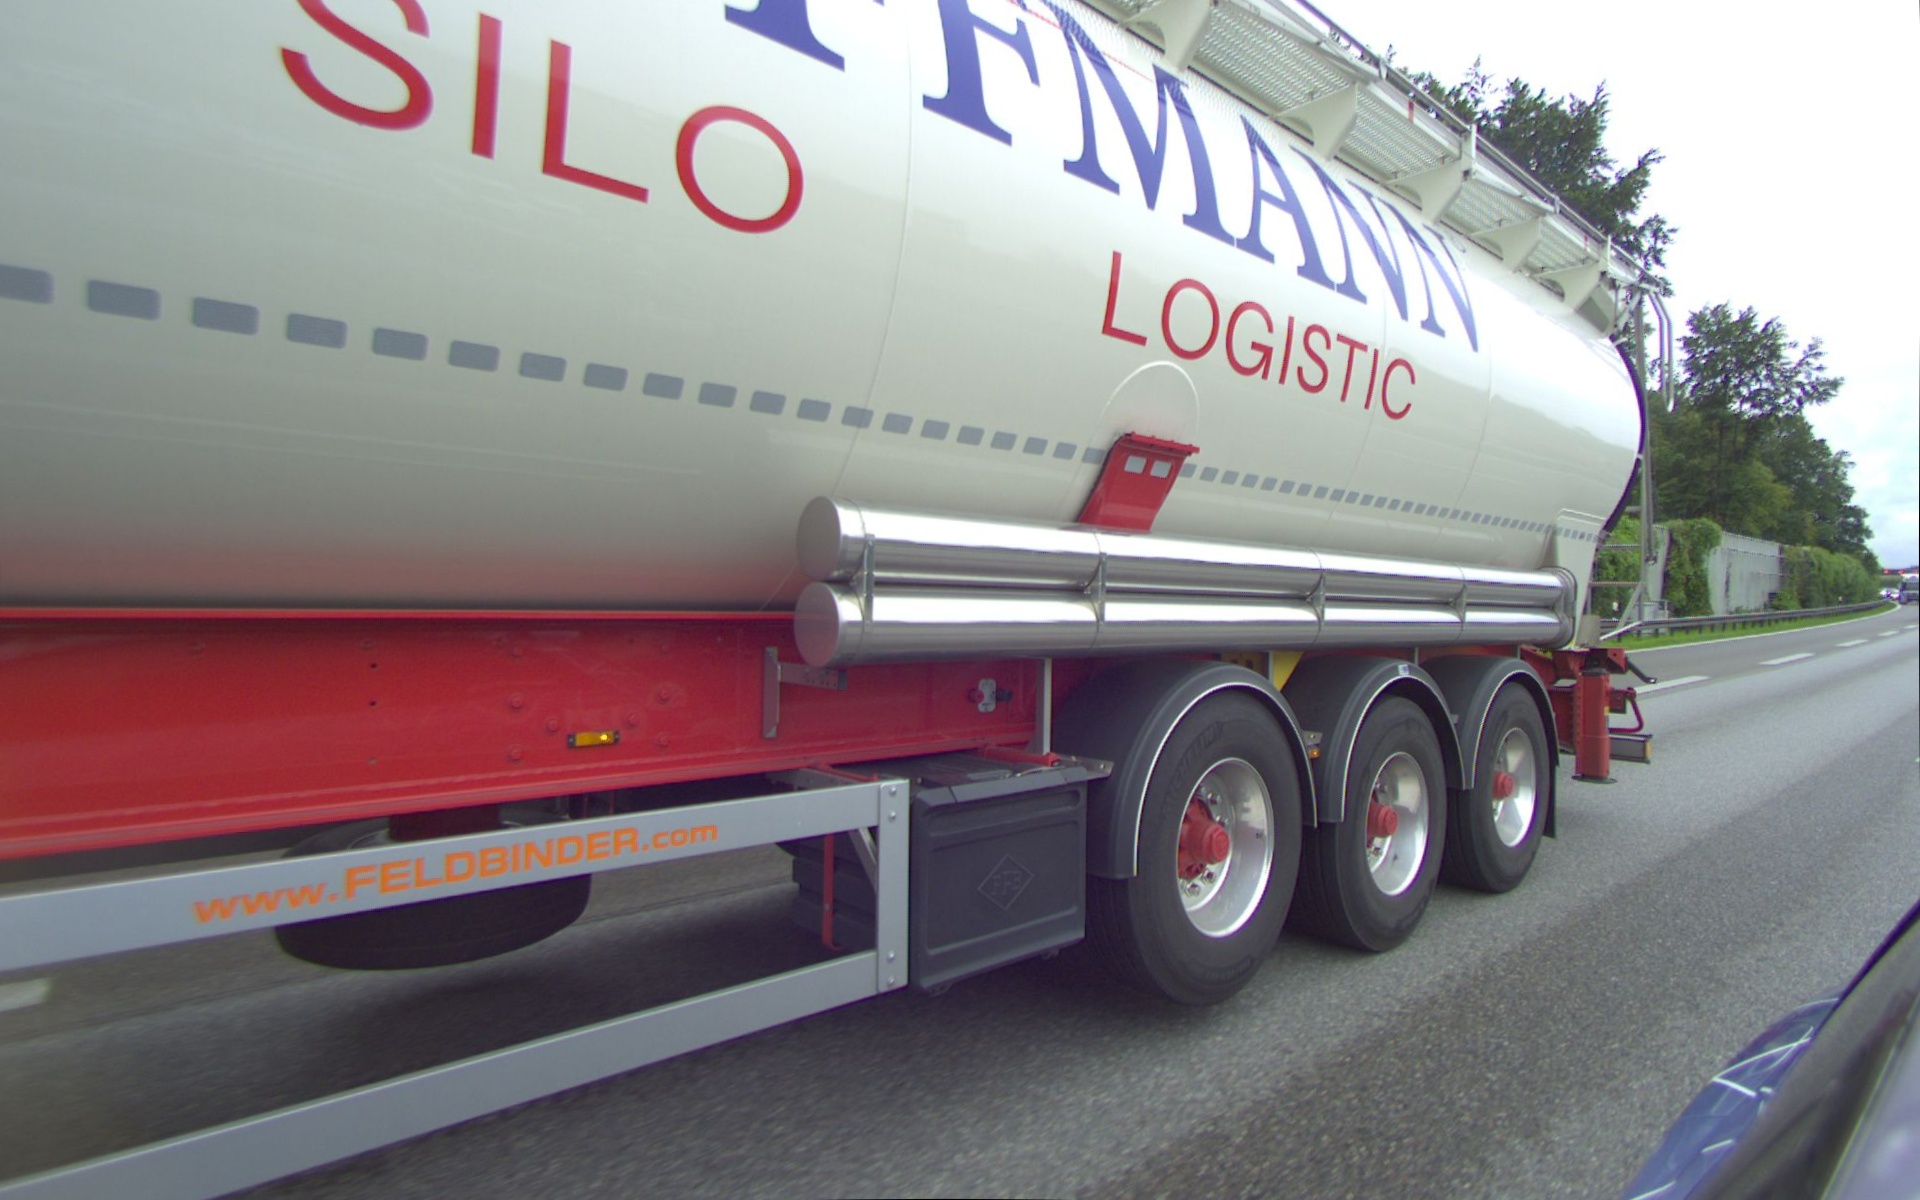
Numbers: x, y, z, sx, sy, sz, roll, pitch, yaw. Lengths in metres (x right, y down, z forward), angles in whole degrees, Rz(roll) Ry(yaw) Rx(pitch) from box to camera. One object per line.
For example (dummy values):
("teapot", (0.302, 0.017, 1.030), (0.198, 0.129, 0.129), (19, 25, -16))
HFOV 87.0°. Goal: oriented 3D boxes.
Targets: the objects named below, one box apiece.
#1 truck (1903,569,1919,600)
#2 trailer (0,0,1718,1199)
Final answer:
("truck", (120.578, -1.968, 126.940), (2.697, 3.757, 8.128), (1, 2, 39))
("trailer", (-0.369, -0.608, 3.920), (12.901, 3.988, 2.673), (0, 1, -41))
